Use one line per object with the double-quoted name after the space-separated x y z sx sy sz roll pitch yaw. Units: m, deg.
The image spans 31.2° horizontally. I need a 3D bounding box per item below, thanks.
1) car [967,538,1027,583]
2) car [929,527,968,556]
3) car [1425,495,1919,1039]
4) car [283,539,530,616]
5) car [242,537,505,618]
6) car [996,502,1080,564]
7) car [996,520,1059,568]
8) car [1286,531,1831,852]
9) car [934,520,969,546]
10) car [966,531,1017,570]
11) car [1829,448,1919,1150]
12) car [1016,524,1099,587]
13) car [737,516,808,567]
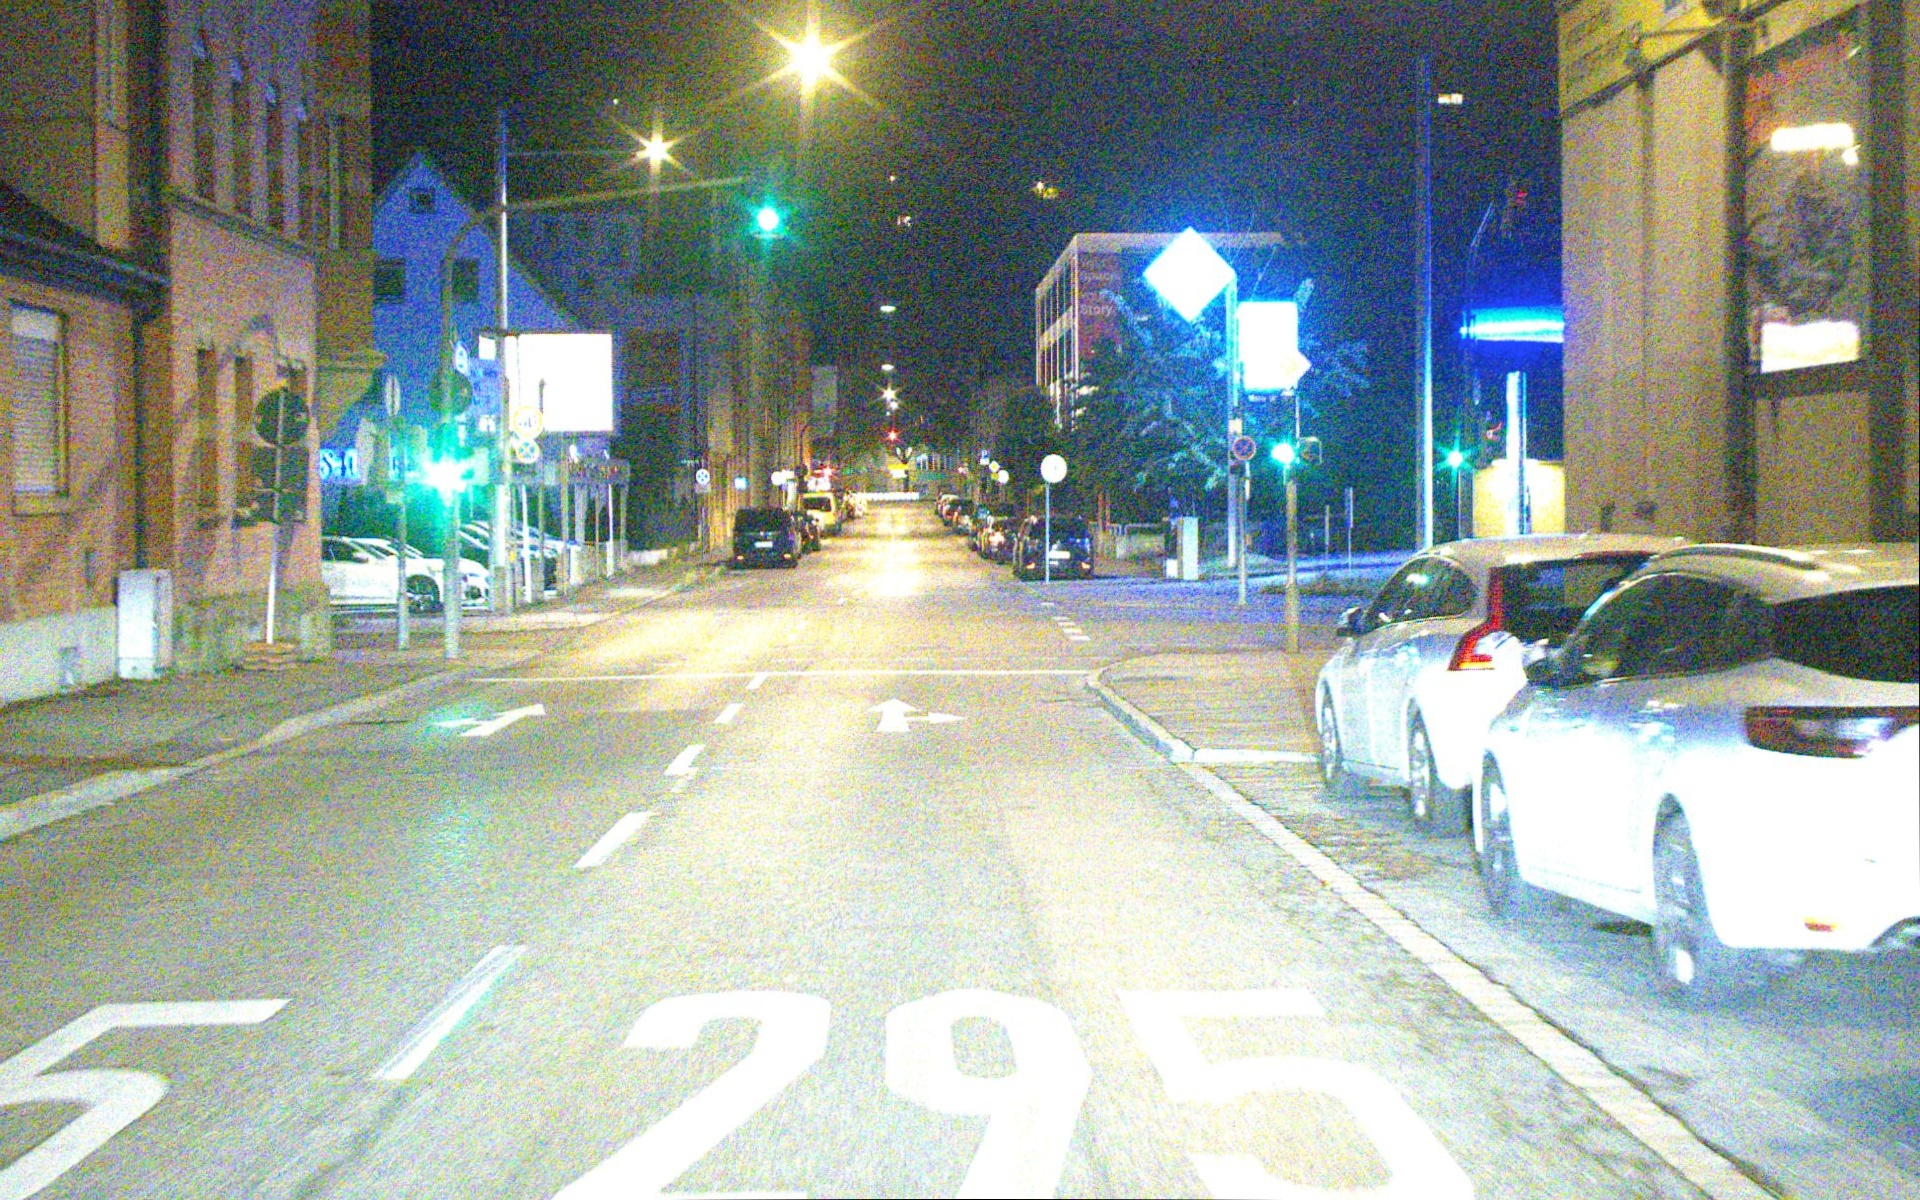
1.268 -1.350 117.843 1.993 1.515 4.000 0 0 1 "car"
-0.590 -3.082 182.351 1.993 1.515 4.000 0 0 1 "car"
2.944 0.456 12.044 1.774 1.539 4.547 0 0 -3 "car"
-10.511 -0.434 65.559 4.438 1.445 2.000 0 0 -2 "car"
-10.579 -0.402 62.250 4.438 1.445 2.000 0 0 -1 "car"
2.039 -1.771 91.228 1.993 1.590 4.001 1 1 -2 "car"
2.142 -1.778 110.189 1.993 1.515 4.000 0 0 1 "car"
2.992 0.407 18.209 1.859 1.484 4.547 0 0 -3 "car"
-0.500 -3.998 205.361 1.993 1.515 4.000 0 0 1 "car"
1.239 -1.926 134.772 1.993 1.515 4.000 0 0 1 "car"
3.193 0.474 6.343 1.823 1.617 4.458 -1 1 -3 "car"
2.413 -1.132 86.120 1.993 1.511 4.000 1 1 1 "car"
-5.693 -1.765 104.773 1.993 1.497 4.000 0 0 -1 "car"
